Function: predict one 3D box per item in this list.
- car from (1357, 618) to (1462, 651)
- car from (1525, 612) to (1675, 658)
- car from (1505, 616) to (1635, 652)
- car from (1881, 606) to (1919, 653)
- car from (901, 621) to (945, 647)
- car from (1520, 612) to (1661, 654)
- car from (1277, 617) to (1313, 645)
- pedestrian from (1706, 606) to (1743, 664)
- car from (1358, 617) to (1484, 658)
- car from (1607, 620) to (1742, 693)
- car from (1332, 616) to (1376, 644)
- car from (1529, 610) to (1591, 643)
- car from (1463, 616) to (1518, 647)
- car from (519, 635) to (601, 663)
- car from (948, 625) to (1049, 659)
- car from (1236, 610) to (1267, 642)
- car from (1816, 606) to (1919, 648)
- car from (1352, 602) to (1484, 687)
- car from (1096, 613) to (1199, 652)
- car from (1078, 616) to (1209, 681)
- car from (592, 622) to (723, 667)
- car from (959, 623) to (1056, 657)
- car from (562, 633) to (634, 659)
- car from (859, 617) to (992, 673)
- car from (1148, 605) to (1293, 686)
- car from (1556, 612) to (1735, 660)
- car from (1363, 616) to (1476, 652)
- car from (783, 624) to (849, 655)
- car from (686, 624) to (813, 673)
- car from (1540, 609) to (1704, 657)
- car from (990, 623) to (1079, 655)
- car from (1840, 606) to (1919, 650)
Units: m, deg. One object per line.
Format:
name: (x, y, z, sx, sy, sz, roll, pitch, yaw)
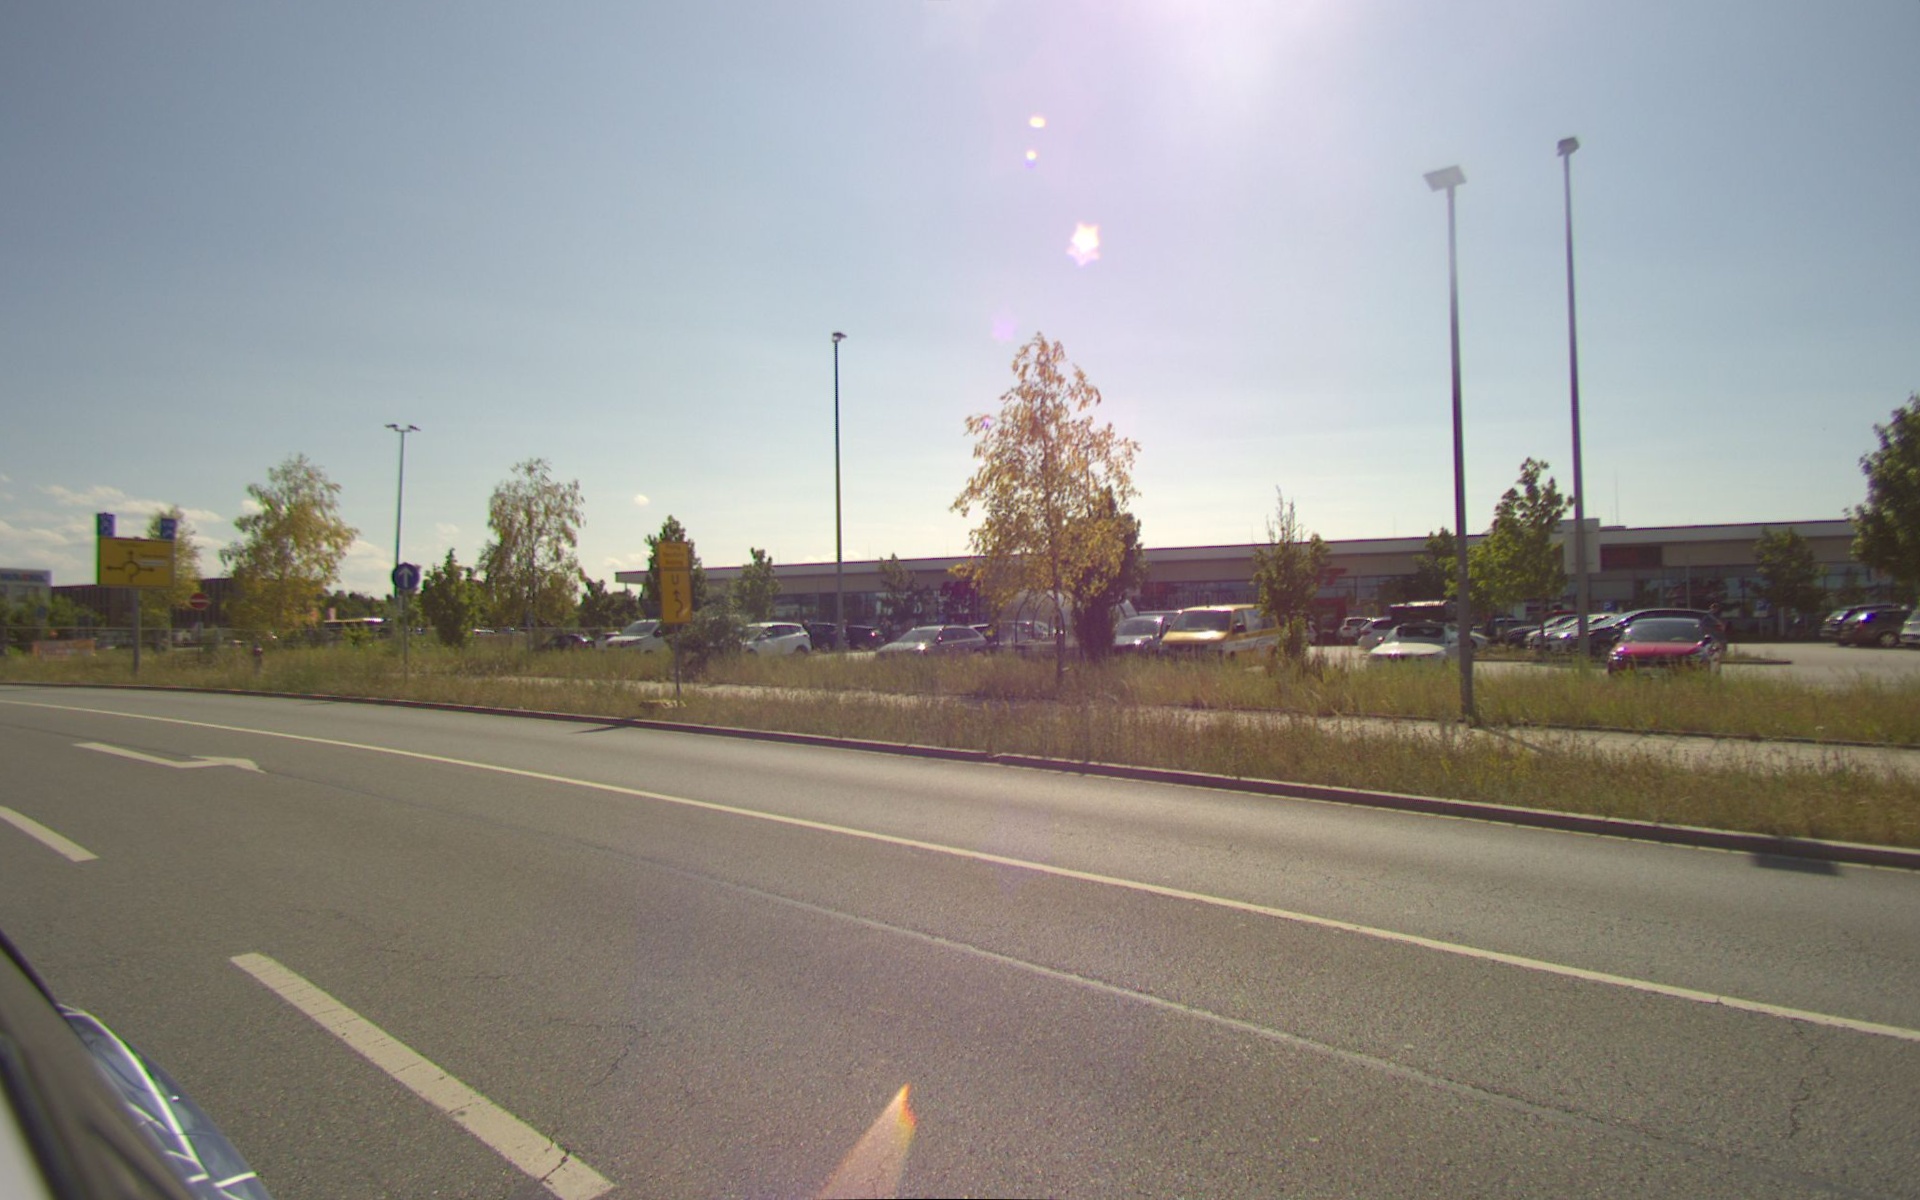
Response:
car: (20.650, 1.600, 46.688, 4.326, 1.428, 1.704, -2, -2, 23)
car: (23.424, 1.297, 37.221, 4.322, 1.584, 1.706, -1, -2, 20)
car: (25.337, 1.425, 42.189, 4.322, 1.428, 1.706, -1, -2, 20)
car: (35.366, 1.002, 35.344, 4.322, 1.627, 1.706, -1, -2, 20)
car: (-2.361, 2.221, 66.369, 1.701, 1.576, 4.333, -1, -2, 15)
car: (24.494, 1.297, 39.475, 4.322, 1.544, 1.706, -1, -2, 20)
car: (19.308, 1.765, 58.498, 1.701, 1.530, 4.333, -1, -2, 15)
pedestrian: (24.740, 1.133, 32.772, 0.776, 1.837, 0.566, -1, -2, 22)
car: (17.832, 1.469, 39.357, 4.326, 1.538, 1.704, -2, -2, 23)
car: (15.058, 1.119, 21.237, 1.935, 1.358, 4.101, -2, -2, 40)
car: (22.424, 1.697, 57.687, 1.817, 1.536, 4.333, -1, -2, 15)
car: (32.247, 1.434, 54.483, 1.701, 1.646, 4.333, -1, -2, 15)
car: (29.062, 1.726, 55.549, 1.701, 1.638, 4.333, -1, -2, 15)
car: (-25.327, 3.097, 64.172, 4.379, 1.701, 2.271, -1, -2, 15)
car: (1.707, 1.860, 44.801, 4.111, 1.436, 1.705, -2, -2, 21)
car: (17.465, 1.542, 60.771, 1.701, 1.821, 4.333, -1, -2, 15)
car: (37.022, 1.063, 40.106, 4.322, 1.608, 1.773, -1, -2, 20)
car: (11.122, 1.033, 24.428, 1.930, 1.875, 4.103, -2, -2, 39)
car: (8.914, 1.565, 48.233, 4.554, 1.754, 1.704, -2, -2, 23)
car: (5.323, 1.331, 28.850, 1.878, 1.685, 4.727, -2, -2, 35)
car: (-11.866, 1.722, 40.035, 1.990, 1.685, 5.149, -2, -2, 27)
car: (2.213, 1.883, 47.371, 4.209, 1.528, 1.705, -2, -2, 21)
car: (-25.241, 3.202, 70.649, 4.539, 1.701, 1.964, -1, -2, 19)
car: (-1.043, 1.427, 33.076, 1.995, 1.685, 4.662, -2, -2, 34)
car: (7.250, 1.181, 27.655, 1.995, 1.980, 5.633, -2, -2, 34)
car: (21.527, 1.142, 31.996, 4.322, 1.428, 1.706, -1, -2, 20)
car: (19.774, 1.486, 43.764, 4.326, 1.489, 1.704, -2, -2, 23)
car: (-7.798, 2.132, 55.132, 1.831, 1.564, 3.971, -2, -2, 21)
car: (-7.655, 1.737, 37.233, 1.994, 1.685, 4.553, -2, -2, 32)
car: (22.412, 1.135, 34.474, 4.322, 1.561, 1.706, -1, -2, 20)
car: (3.897, 2.040, 52.851, 4.323, 1.599, 1.705, -2, -2, 21)
car: (36.160, 1.032, 37.974, 4.322, 1.614, 1.706, -1, -2, 20)
